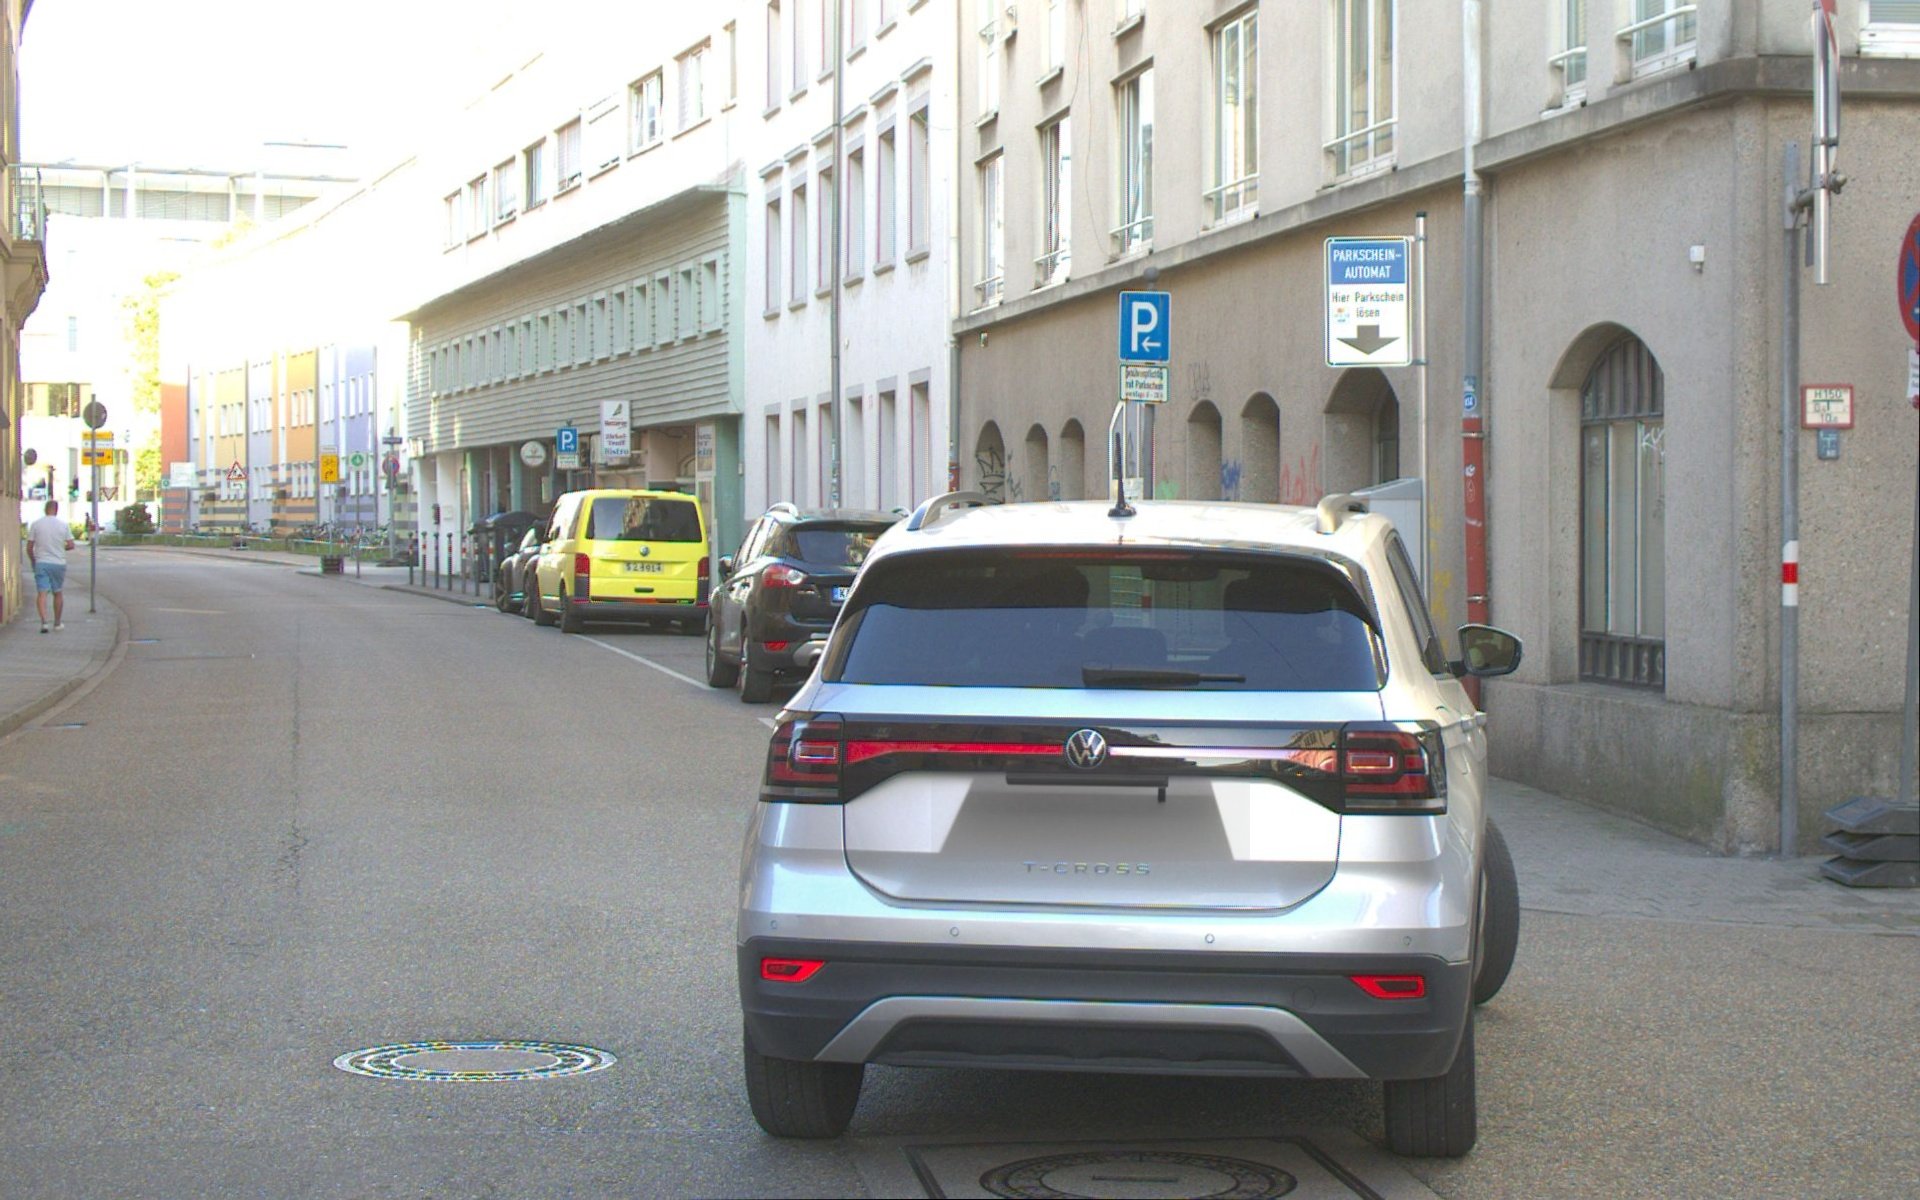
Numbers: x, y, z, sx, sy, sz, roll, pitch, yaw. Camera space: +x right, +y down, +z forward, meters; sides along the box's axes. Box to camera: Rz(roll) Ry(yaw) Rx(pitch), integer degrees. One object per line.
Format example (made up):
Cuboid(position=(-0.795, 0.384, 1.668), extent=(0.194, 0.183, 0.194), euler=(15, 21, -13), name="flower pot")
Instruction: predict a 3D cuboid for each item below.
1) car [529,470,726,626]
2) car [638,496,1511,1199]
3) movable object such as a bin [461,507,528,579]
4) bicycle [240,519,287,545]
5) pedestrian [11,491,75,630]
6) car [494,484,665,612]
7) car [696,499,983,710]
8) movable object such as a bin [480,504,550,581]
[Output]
Cuboid(position=(-4.546, -0.737, 46.503), extent=(2.052, 2.006, 4.176), euler=(0, 2, -14), name="car")
Cuboid(position=(0.545, 0.505, 9.388), extent=(1.837, 1.557, 3.999), euler=(0, 2, 10), name="car")
Cuboid(position=(-9.797, -1.207, 72.295), extent=(1.131, 1.474, 1.740), euler=(0, 1, -18), name="movable object such as a bin")
Cuboid(position=(-27.267, -2.672, 134.551), extent=(1.780, 0.997, 0.547), euler=(0, 1, -15), name="bicycle")
Cuboid(position=(-11.467, -0.498, 42.970), extent=(0.765, 1.718, 0.687), euler=(0, 1, -15), name="pedestrian")
Cuboid(position=(-5.833, -0.819, 52.254), extent=(2.052, 1.866, 4.102), euler=(0, 2, -14), name="car")
Cuboid(position=(-1.137, -0.015, 30.137), extent=(1.967, 1.686, 4.102), euler=(1, 1, -9), name="car")
Cuboid(position=(-9.154, -1.185, 70.610), extent=(1.131, 1.552, 1.740), euler=(0, 1, -18), name="movable object such as a bin")
